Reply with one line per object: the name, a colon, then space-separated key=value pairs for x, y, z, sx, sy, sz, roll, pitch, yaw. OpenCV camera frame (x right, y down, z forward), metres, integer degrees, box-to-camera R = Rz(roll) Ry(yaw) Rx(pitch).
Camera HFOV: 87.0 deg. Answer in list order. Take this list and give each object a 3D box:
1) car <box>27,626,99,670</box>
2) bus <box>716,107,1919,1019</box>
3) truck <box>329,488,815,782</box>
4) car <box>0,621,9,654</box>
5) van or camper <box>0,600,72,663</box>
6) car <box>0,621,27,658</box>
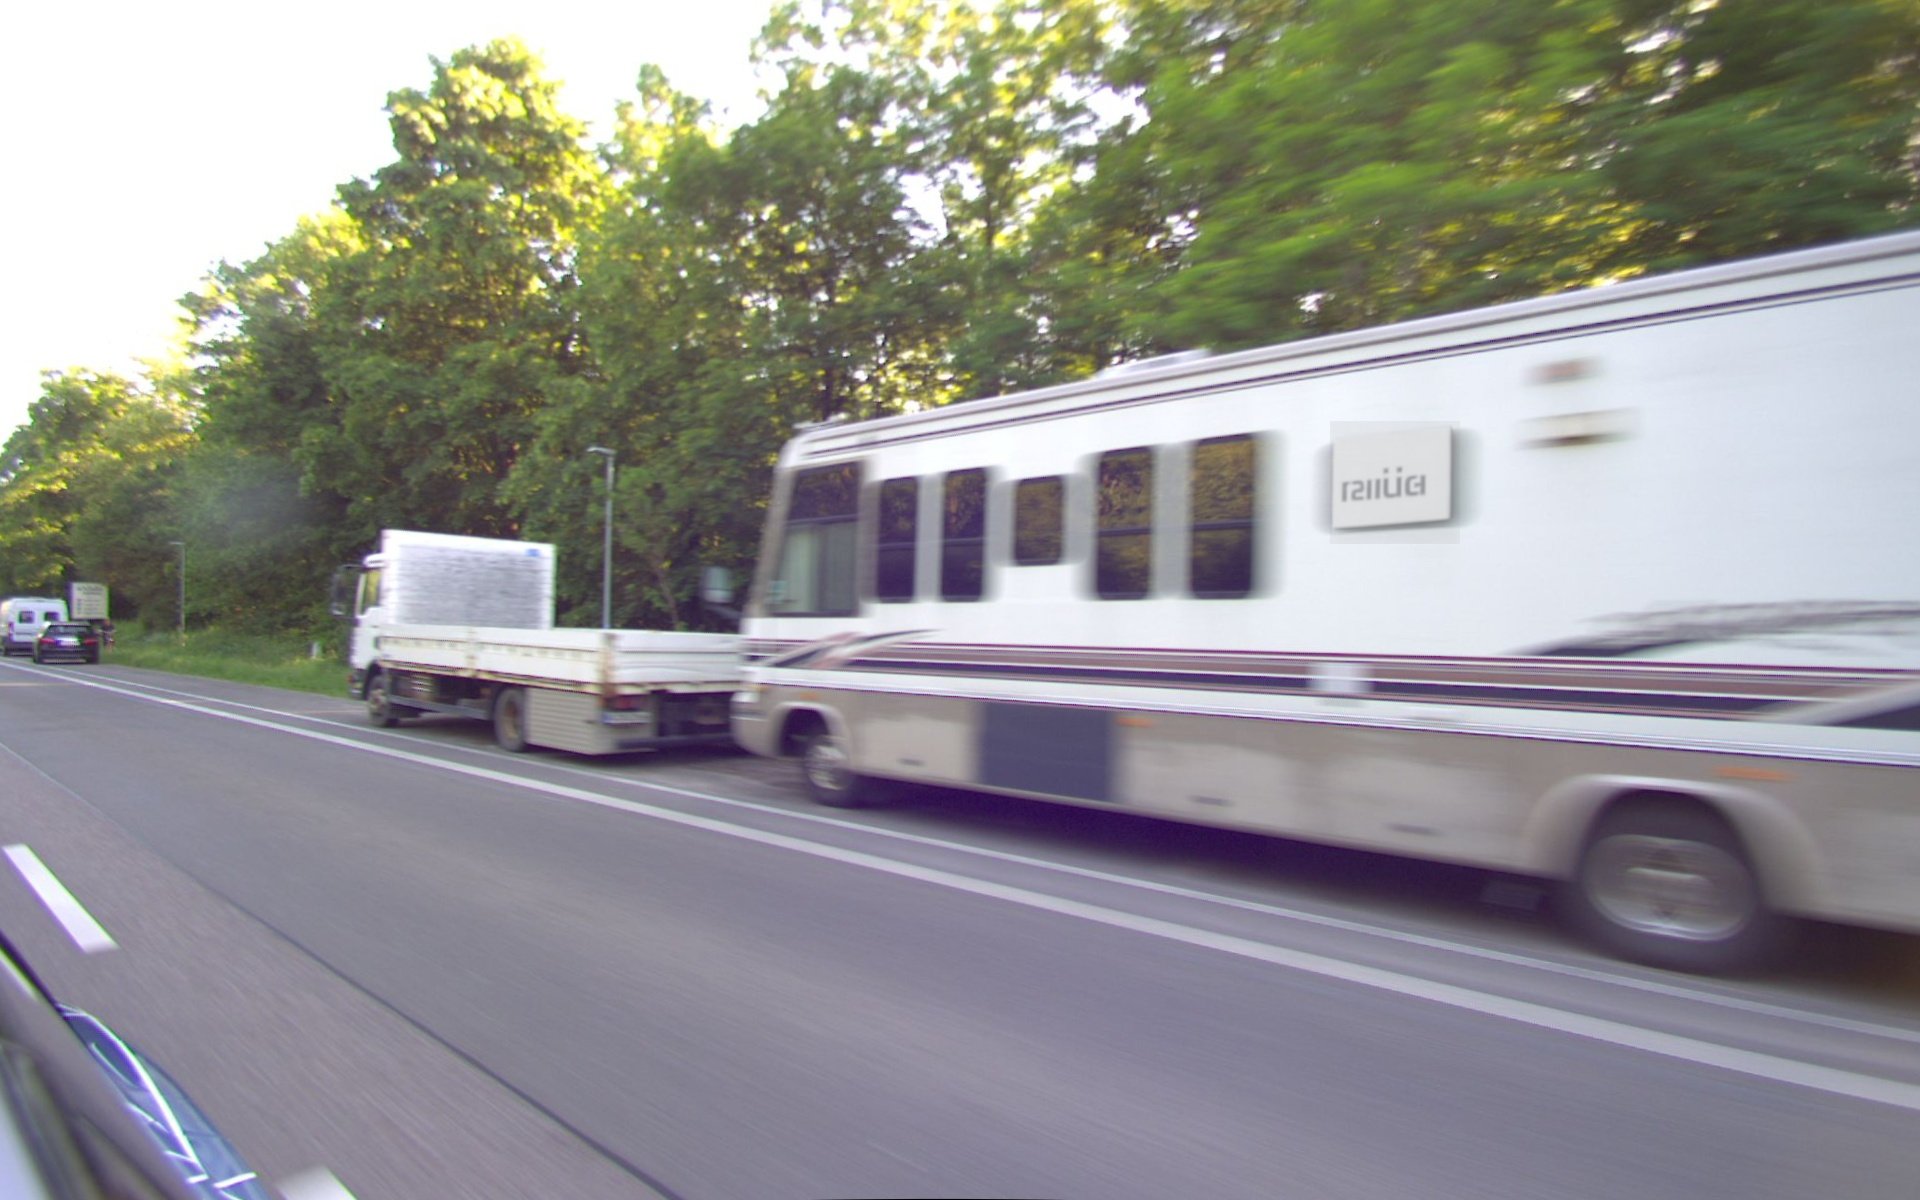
car: x=-33.023 y=1.727 z=37.216 sx=1.763 sy=1.505 sz=4.003 roll=2 pitch=-3 yaw=-44
bus: x=2.966 y=-0.125 z=6.292 sx=11.195 sy=3.456 sz=2.798 roll=-1 pitch=0 yaw=41
truck: x=-5.641 y=0.421 z=13.541 sx=8.420 sy=2.845 sz=2.456 roll=-1 pitch=-1 yaw=41
car: x=-54.896 y=2.099 z=56.687 sx=4.142 sy=1.821 sz=1.973 roll=-1 pitch=-1 yaw=41
van or camper: x=-41.977 y=1.401 z=45.555 sx=5.982 sy=2.634 sz=2.224 roll=-2 pitch=-2 yaw=41
car: x=-49.905 y=2.036 z=52.360 sx=4.142 sy=1.821 sz=1.973 roll=-1 pitch=-1 yaw=41
